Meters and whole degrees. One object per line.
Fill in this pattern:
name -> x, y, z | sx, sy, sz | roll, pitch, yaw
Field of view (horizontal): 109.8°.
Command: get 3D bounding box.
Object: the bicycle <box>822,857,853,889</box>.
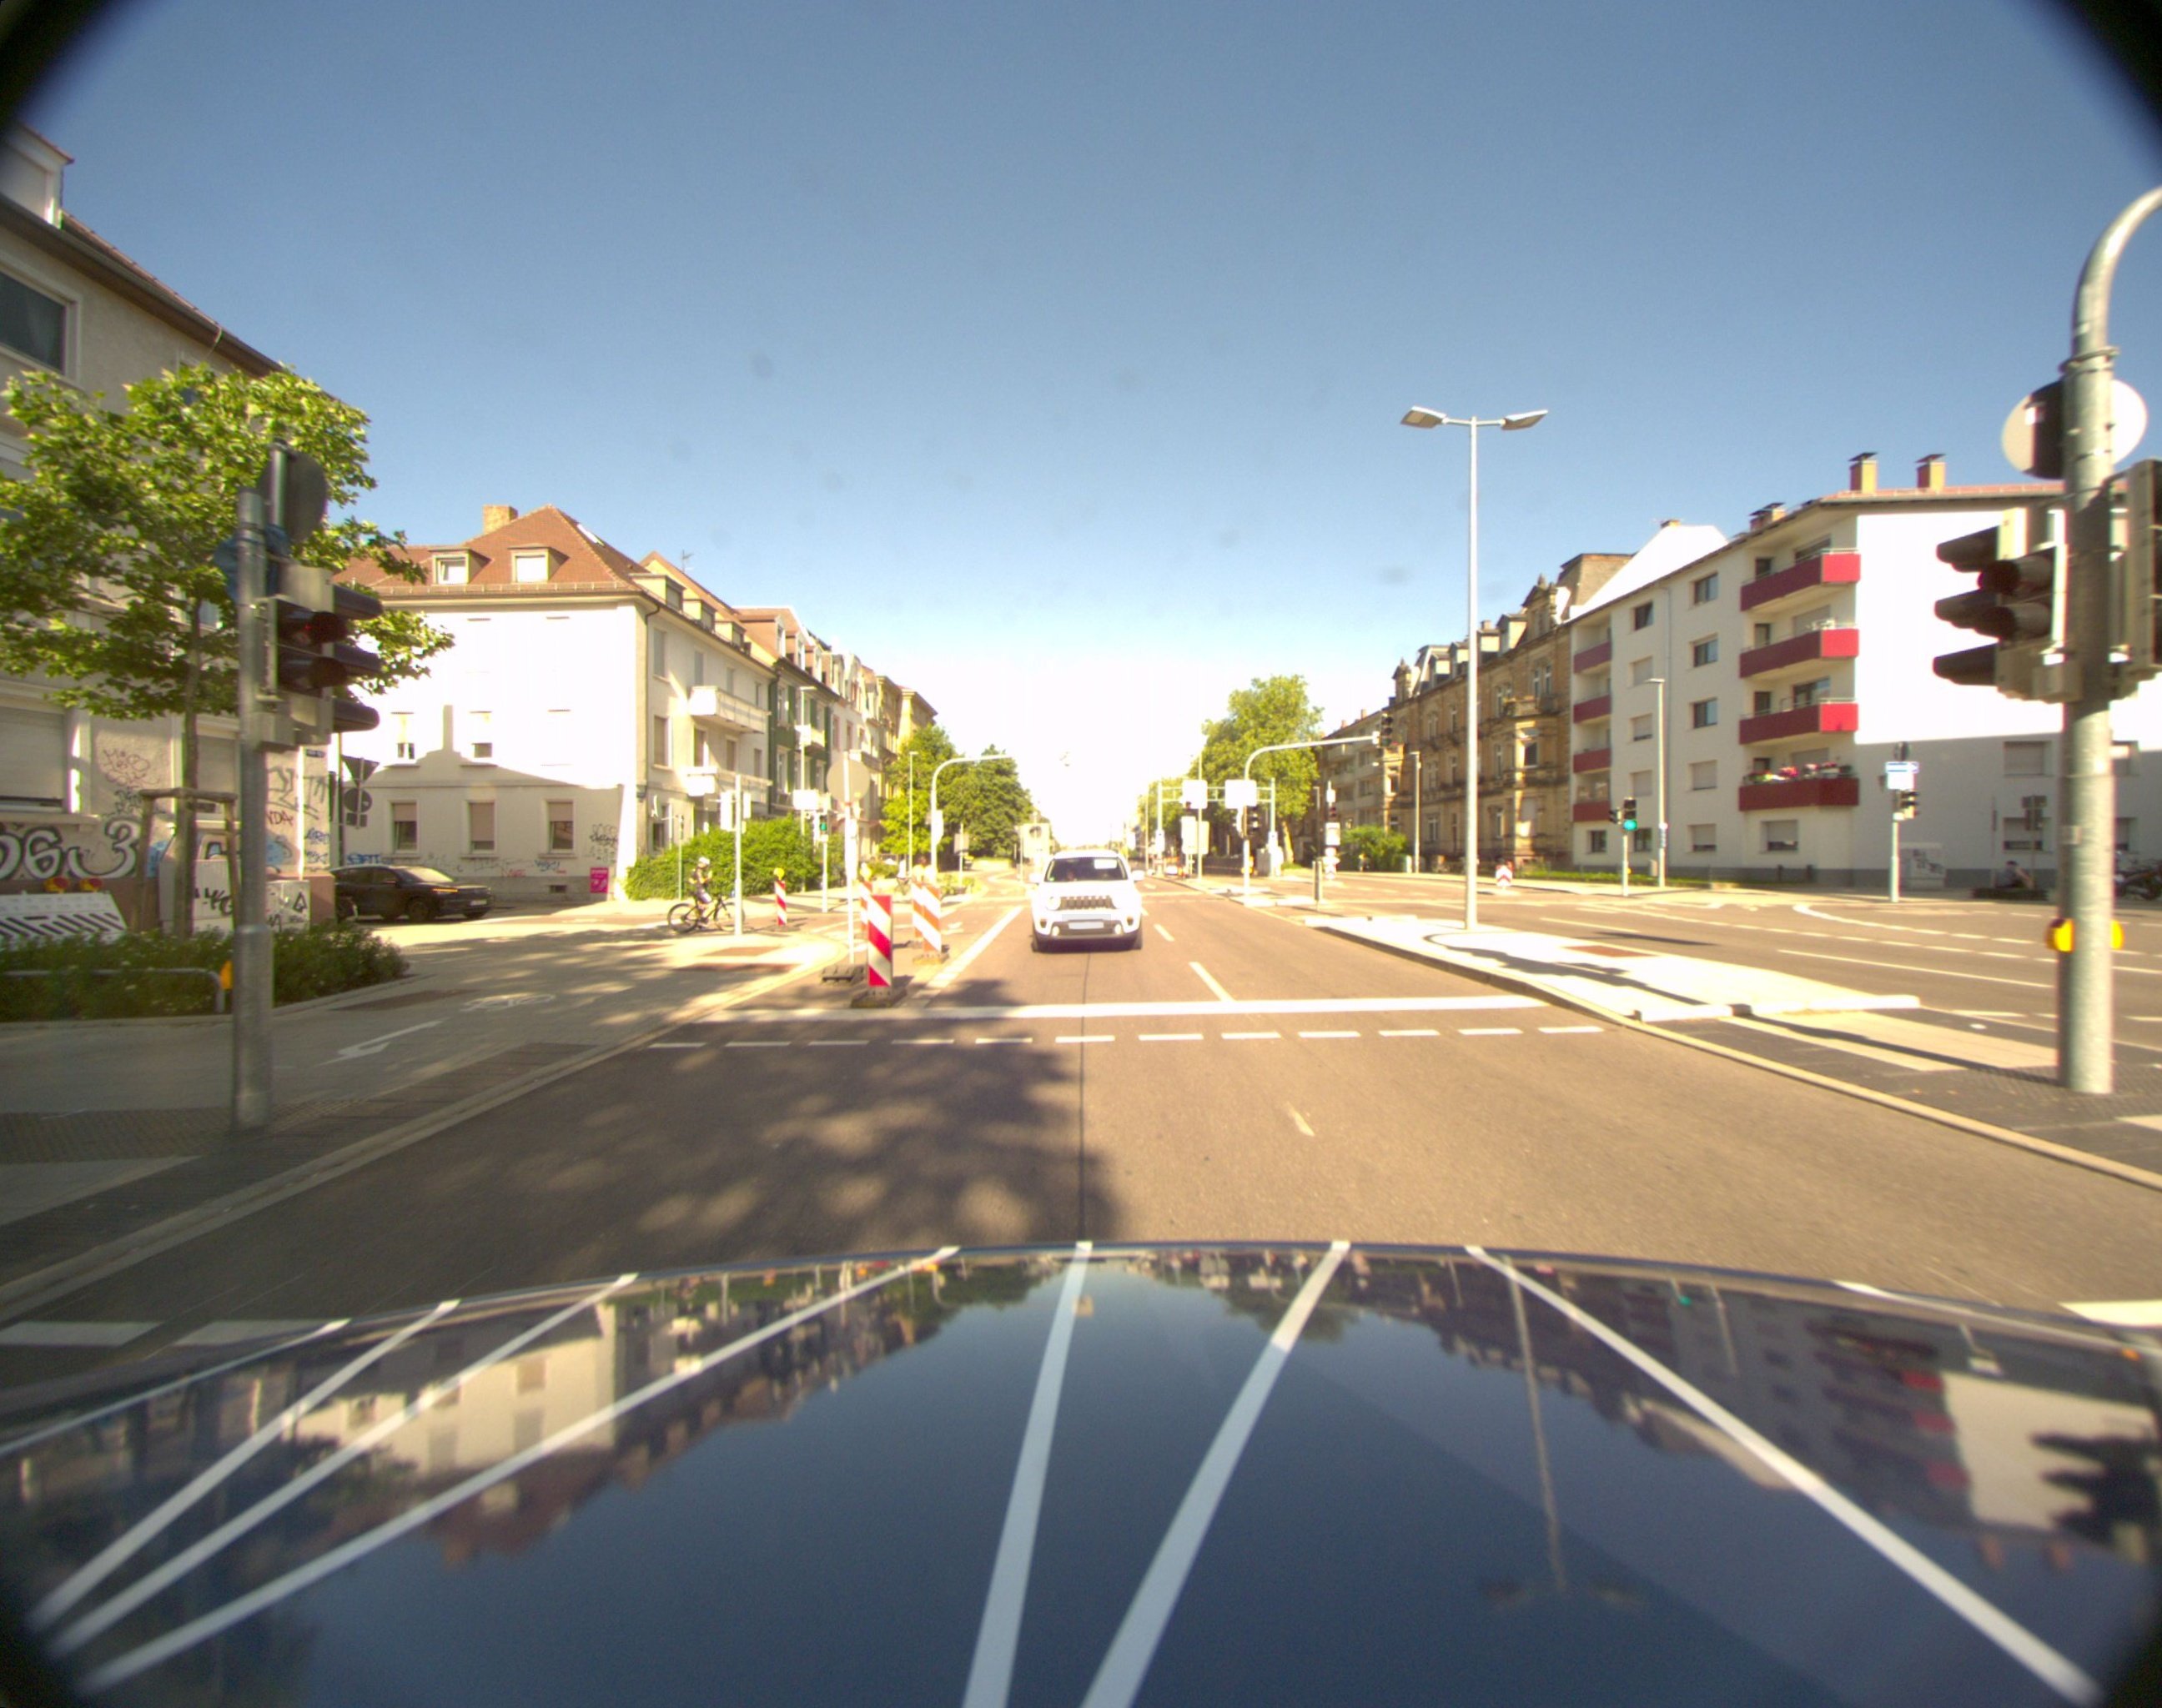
bicycle -> -11.716, 0.897, 36.614 | 0.710, 1.435, 2.491 | -2, 0, -1

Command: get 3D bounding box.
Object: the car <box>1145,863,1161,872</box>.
car -> 11.669, 2.156, 123.257 | 1.999, 1.444, 4.390 | -3, 0, 0

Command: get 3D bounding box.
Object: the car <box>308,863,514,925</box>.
car -> -19.098, 1.115, 21.770 | 4.259, 1.609, 1.985 | -1, 1, 5

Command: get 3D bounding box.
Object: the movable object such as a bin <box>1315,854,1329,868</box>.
movable object such as a bin -> 23.521, 0.697, 74.171 | 0.895, 1.354, 1.314 | 2, -1, -1

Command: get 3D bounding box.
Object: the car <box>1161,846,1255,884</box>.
car -> 6.021, 0.504, 35.934 | 3.990, 1.703, 2.003 | -1, 0, 24

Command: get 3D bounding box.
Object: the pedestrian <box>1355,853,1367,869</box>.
pedestrian -> 23.348, 0.586, 63.380 | 0.568, 1.369, 1.090 | -1, 0, -2

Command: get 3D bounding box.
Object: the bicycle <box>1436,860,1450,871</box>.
bicycle -> 24.217, 0.768, 50.848 | 0.299, 0.766, 1.414 | 0, 0, 1

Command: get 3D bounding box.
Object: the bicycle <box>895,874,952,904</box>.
bicycle -> -5.836, 1.305, 28.206 | 1.967, 1.019, 0.605 | -2, 0, 0

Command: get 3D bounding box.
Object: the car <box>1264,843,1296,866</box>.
car -> 22.434, 0.122, 86.032 | 2.250, 2.431, 5.288 | 1, -1, 1

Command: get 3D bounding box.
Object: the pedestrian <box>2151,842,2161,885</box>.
pedestrian -> 37.928, 0.321, 26.374 | 0.601, 1.488, 0.695 | -1, 1, 3

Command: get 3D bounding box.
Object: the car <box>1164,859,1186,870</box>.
car -> 11.533, 1.316, 93.358 | 1.936, 1.337, 4.316 | 0, -1, -3

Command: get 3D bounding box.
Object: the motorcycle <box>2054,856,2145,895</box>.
motorcycle -> 31.311, 0.631, 23.400 | 0.612, 1.135, 1.784 | -1, 0, 9

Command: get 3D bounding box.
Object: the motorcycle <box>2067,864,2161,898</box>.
motorcycle -> 30.216, 0.759, 22.242 | 0.504, 0.931, 1.843 | -1, 0, 7

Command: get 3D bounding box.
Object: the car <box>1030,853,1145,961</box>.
car -> 0.079, 0.857, 13.560 | 1.744, 1.647, 3.690 | -1, -1, -1

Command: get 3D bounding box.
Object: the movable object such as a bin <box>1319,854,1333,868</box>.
movable object such as a bin -> 23.454, 0.679, 72.778 | 0.895, 1.352, 1.474 | 1, -1, 1

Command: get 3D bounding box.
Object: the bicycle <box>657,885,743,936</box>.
bicycle -> -8.624, 1.257, 17.242 | 1.689, 1.091, 0.689 | 2, -1, -28

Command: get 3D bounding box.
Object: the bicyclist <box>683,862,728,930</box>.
bicyclist -> -8.572, 0.938, 17.341 | 0.872, 1.491, 0.724 | -1, 0, -28

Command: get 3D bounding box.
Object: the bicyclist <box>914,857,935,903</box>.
bicyclist -> -5.785, 0.955, 28.149 | 0.605, 1.698, 0.858 | 0, 0, 0

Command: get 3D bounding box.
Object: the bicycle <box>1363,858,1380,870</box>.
bicycle -> 24.058, 0.808, 63.035 | 0.468, 0.999, 2.250 | -2, 0, -2

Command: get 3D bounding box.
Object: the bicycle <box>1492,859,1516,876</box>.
bicycle -> 24.177, 0.758, 43.444 | 0.305, 0.952, 1.940 | 0, 0, 1

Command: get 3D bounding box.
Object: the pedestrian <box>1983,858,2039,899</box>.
pedestrian -> 27.289, 0.709, 22.301 | 0.720, 1.146, 0.788 | -1, 1, -12

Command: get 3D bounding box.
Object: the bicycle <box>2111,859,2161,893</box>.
bicycle -> 34.611, 0.710, 24.506 | 0.575, 1.052, 1.691 | -1, 0, 5

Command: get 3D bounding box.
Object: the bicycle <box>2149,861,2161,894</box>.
bicycle -> 31.860, 0.698, 21.704 | 0.507, 0.972, 1.887 | -1, 0, 17

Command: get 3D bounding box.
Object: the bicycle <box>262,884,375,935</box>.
bicycle -> -17.332, 1.255, 17.290 | 2.001, 1.074, 0.579 | -1, 1, 2

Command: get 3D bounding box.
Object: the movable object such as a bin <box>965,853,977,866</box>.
movable object such as a bin -> -12.129, 0.616, 83.897 | 0.975, 1.389, 1.285 | 2, -1, -23

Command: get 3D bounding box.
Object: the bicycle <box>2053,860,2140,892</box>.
bicycle -> 32.732, 0.684, 24.522 | 0.575, 0.963, 1.737 | -1, 0, 5
